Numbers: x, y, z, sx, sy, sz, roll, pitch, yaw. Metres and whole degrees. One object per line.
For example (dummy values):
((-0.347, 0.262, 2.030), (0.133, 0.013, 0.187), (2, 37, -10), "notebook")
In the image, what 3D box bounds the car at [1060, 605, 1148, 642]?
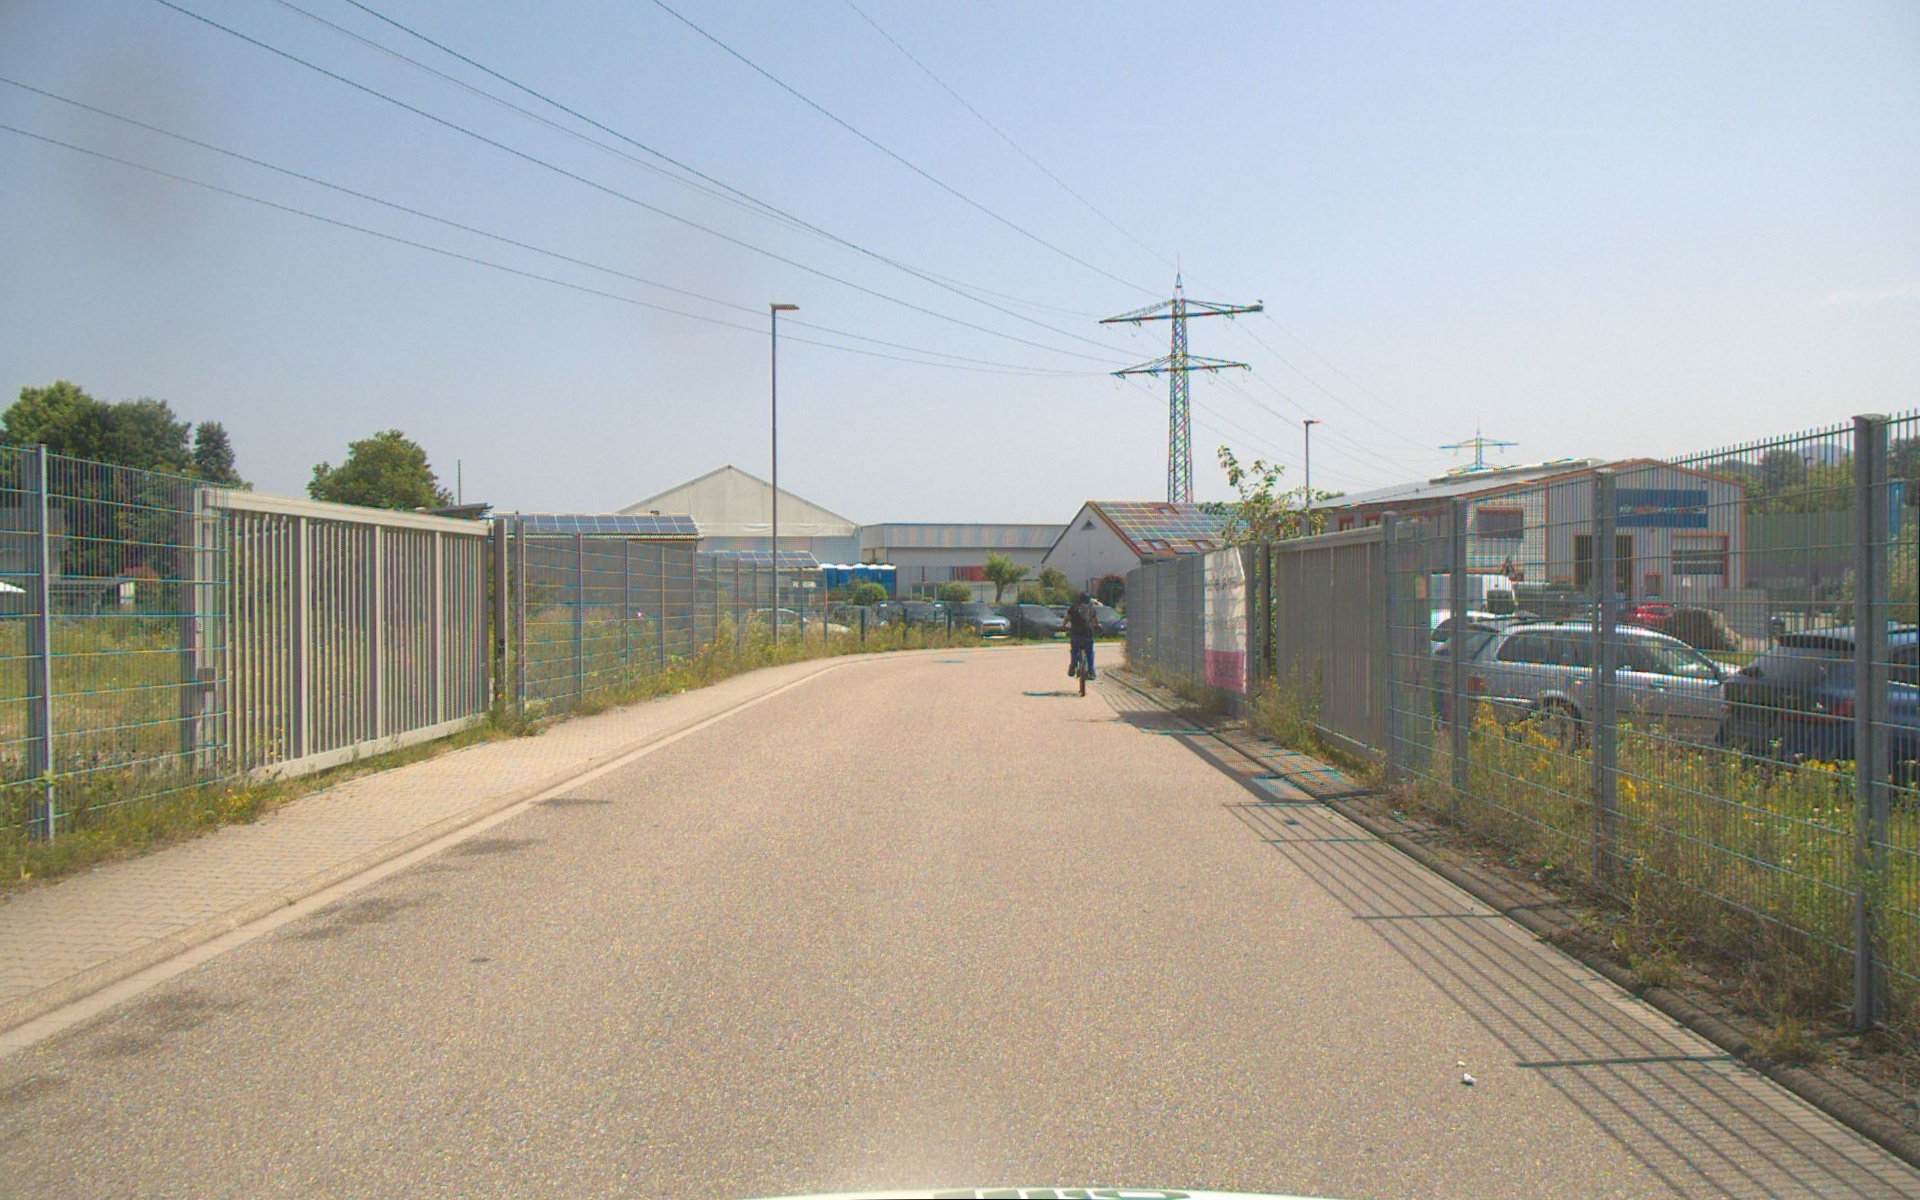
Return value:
((5.915, 0.931, 68.350), (1.965, 1.460, 4.641), (0, 0, -18), "car")

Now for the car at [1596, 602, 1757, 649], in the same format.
((20.769, 0.712, 48.044), (1.889, 1.300, 3.872), (0, 0, -40), "car")

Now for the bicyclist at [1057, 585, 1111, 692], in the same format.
((1.976, 0.599, 26.388), (0.825, 1.646, 1.040), (1, 1, 4), "bicyclist")

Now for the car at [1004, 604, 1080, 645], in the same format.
((3.281, 0.969, 66.551), (1.834, 1.581, 3.750), (0, 0, -18), "car")

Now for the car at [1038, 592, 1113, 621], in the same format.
((6.583, 0.375, 94.529), (3.923, 1.626, 1.868), (0, 0, -17), "car")

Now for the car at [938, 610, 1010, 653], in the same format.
((0.532, 1.232, 65.966), (1.834, 1.672, 3.615), (0, 0, -18), "car")

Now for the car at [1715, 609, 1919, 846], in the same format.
((7.631, 0.870, 10.947), (4.416, 1.430, 1.768), (2, 0, 2), "car")

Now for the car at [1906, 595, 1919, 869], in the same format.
((7.231, 0.783, 7.940), (4.417, 1.430, 1.638), (3, 0, 0), "car")

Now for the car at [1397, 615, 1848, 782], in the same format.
((6.899, 1.001, 17.462), (4.081, 1.500, 1.637), (3, 0, -3), "car")

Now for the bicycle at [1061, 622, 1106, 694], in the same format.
((1.970, 0.904, 26.450), (0.670, 1.070, 1.902), (1, 0, 4), "bicycle")

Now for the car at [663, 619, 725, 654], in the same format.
((-10.701, 1.434, 66.417), (1.835, 1.321, 3.420), (0, 0, -20), "car")
